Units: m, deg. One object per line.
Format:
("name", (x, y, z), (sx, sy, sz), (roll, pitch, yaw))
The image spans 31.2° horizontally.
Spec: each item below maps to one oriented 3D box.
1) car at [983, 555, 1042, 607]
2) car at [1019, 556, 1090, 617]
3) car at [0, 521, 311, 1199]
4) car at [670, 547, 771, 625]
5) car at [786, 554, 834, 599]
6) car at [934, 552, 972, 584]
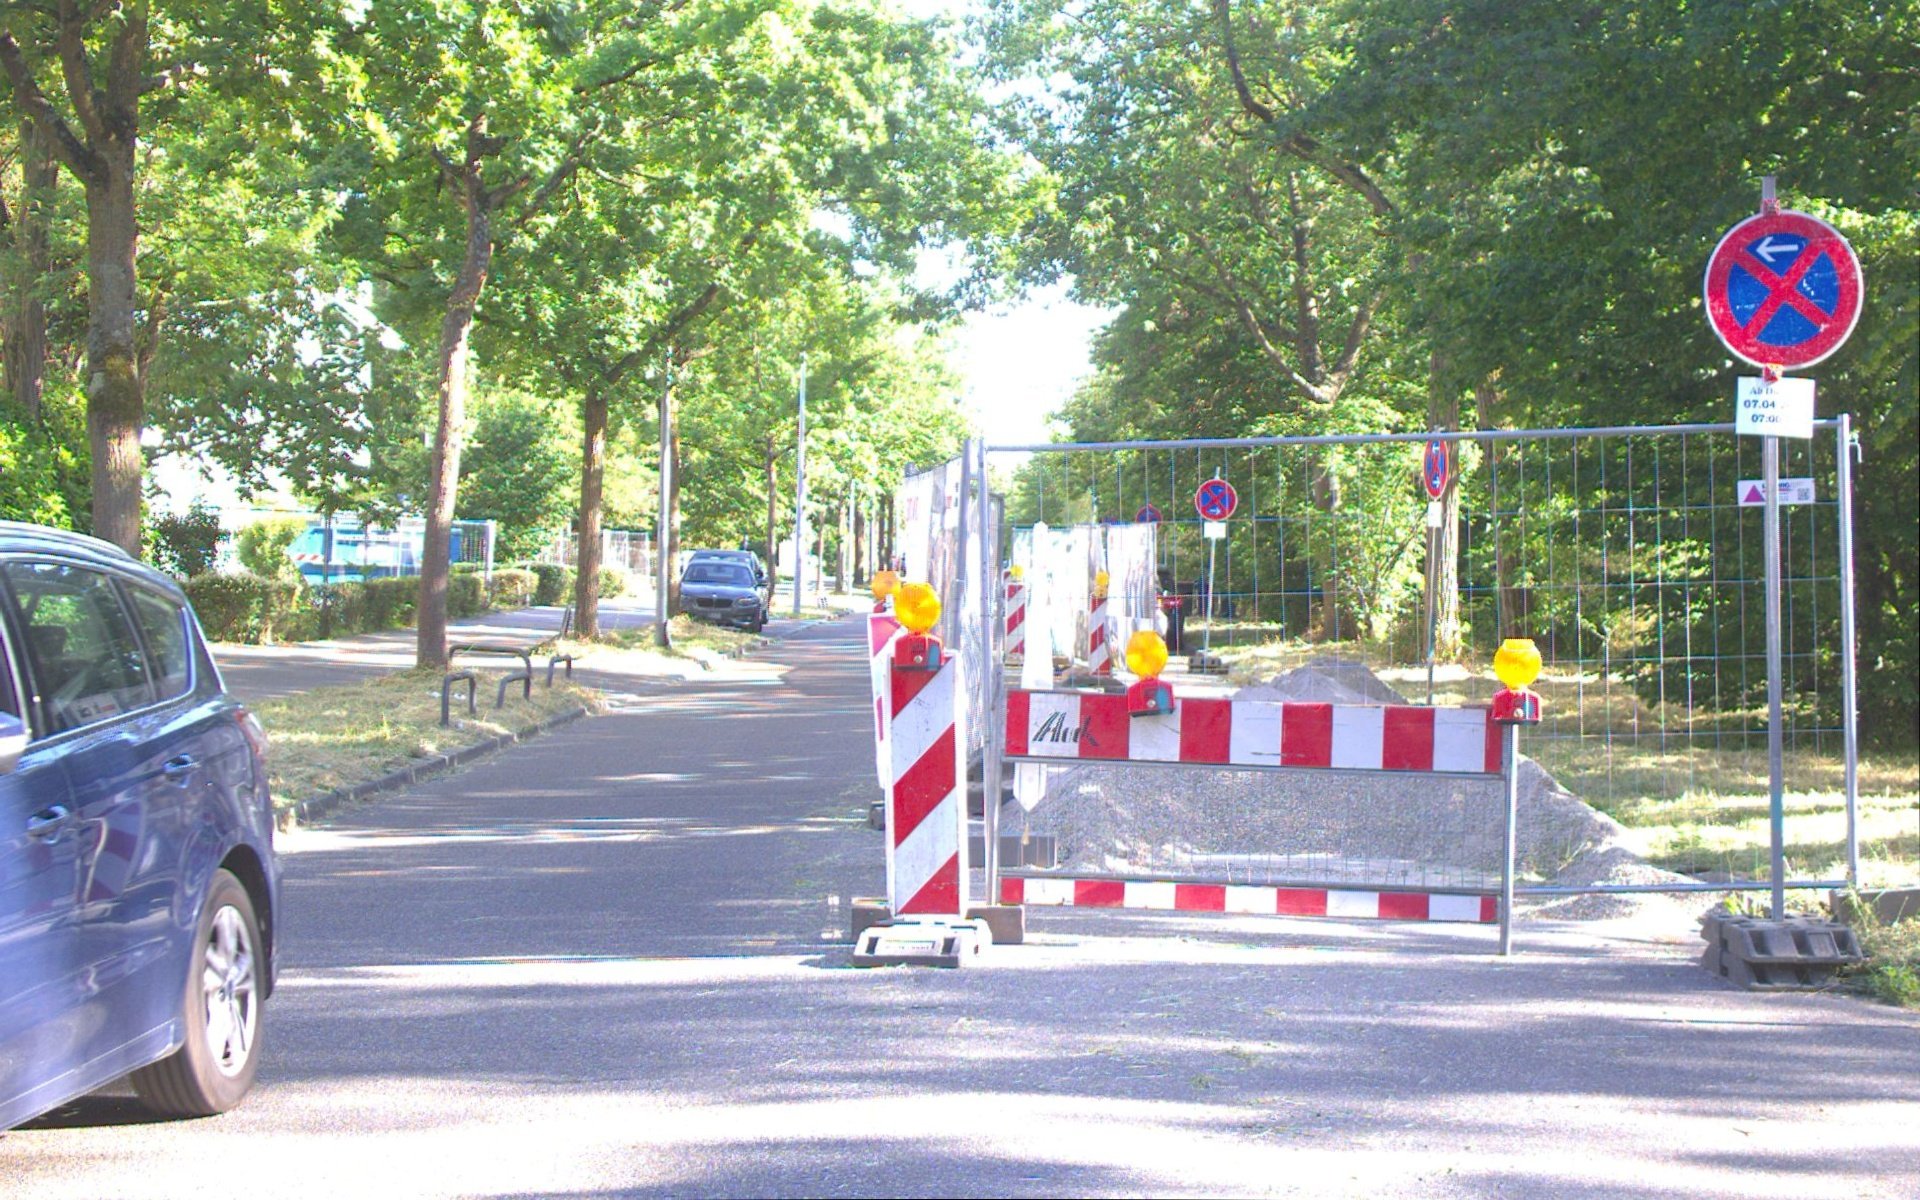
("car", (1.378, -0.485, 90.564), (1.361, 1.298, 3.481), (2, 0, -2))
("car", (2.122, -0.310, 77.583), (1.361, 1.298, 3.481), (2, 0, -2))
("car", (-3.030, 0.645, 8.034), (1.821, 1.619, 4.492), (-1, 1, 5))
("car", (-4.713, -0.299, 68.131), (1.751, 1.473, 3.836), (1, 1, -1))
("car", (-4.488, -0.700, 103.212), (1.361, 1.298, 3.481), (2, 0, -2))
("car", (-0.371, -1.638, 178.696), (1.710, 1.579, 4.000), (2, 0, -3))
